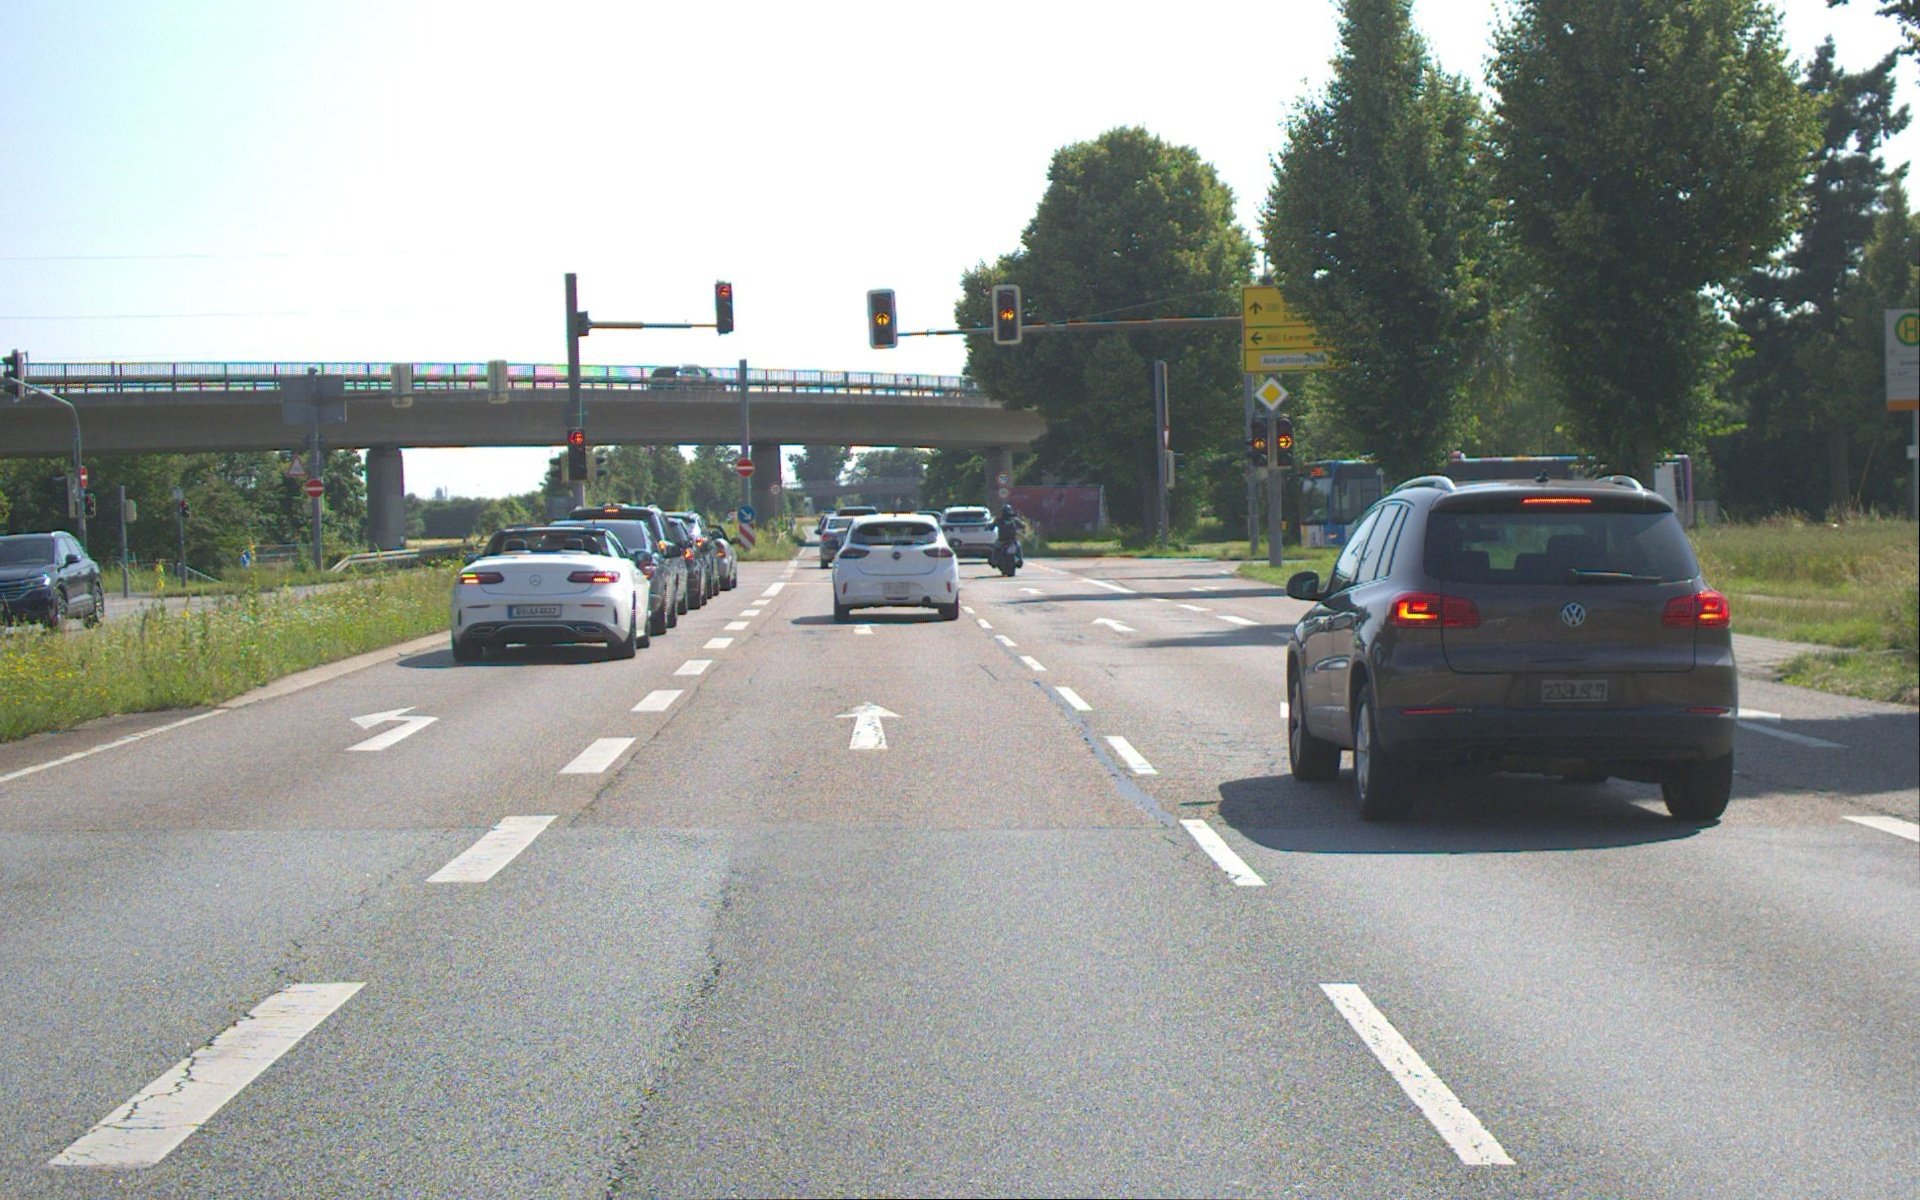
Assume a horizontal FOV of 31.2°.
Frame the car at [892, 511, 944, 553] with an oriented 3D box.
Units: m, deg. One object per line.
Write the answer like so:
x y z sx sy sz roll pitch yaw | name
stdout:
-1.702 -2.728 138.325 1.993 1.626 4.000 1 1 -2 | car

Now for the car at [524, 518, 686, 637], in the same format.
-4.441 -0.320 43.481 1.714 1.405 4.356 0 2 -2 | car

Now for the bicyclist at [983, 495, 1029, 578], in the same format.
1.061 -1.463 78.797 1.007 1.880 1.327 0 1 -1 | bicyclist

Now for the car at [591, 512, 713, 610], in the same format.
-4.922 -0.655 55.371 1.666 1.469 4.098 -1 2 -1 | car

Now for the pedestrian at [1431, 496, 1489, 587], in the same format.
10.282 -1.204 70.702 0.901 1.833 1.195 -2 2 -4 | pedestrian

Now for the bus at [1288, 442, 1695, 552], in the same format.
16.064 -3.108 103.843 11.935 2.867 2.943 -3 1 -16 | bus

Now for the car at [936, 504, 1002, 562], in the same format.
0.246 -1.957 100.061 1.873 1.634 4.000 0 1 -1 | car

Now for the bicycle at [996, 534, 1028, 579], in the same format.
1.181 -1.002 78.501 0.600 0.979 2.361 -1 2 -2 | bicycle

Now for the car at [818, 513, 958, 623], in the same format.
-0.976 -0.476 47.662 1.851 1.456 4.000 0 2 -1 | car

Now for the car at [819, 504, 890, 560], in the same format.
-2.947 -1.921 96.522 1.873 1.487 4.000 -1 2 -1 | car

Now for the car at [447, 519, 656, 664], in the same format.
-4.265 -0.142 36.495 1.803 1.420 4.642 -1 1 -2 | car

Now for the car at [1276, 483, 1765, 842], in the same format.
2.773 0.244 17.902 1.755 1.650 4.147 0 1 -2 | car

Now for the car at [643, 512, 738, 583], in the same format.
-5.344 -1.063 68.537 1.673 1.330 4.098 -1 2 -1 | car

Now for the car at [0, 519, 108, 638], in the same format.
-15.763 -0.362 57.287 1.993 1.834 4.955 -3 2 -3 | car

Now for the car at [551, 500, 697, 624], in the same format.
-4.804 -0.586 49.646 1.741 1.666 4.357 -2 2 -1 | car
